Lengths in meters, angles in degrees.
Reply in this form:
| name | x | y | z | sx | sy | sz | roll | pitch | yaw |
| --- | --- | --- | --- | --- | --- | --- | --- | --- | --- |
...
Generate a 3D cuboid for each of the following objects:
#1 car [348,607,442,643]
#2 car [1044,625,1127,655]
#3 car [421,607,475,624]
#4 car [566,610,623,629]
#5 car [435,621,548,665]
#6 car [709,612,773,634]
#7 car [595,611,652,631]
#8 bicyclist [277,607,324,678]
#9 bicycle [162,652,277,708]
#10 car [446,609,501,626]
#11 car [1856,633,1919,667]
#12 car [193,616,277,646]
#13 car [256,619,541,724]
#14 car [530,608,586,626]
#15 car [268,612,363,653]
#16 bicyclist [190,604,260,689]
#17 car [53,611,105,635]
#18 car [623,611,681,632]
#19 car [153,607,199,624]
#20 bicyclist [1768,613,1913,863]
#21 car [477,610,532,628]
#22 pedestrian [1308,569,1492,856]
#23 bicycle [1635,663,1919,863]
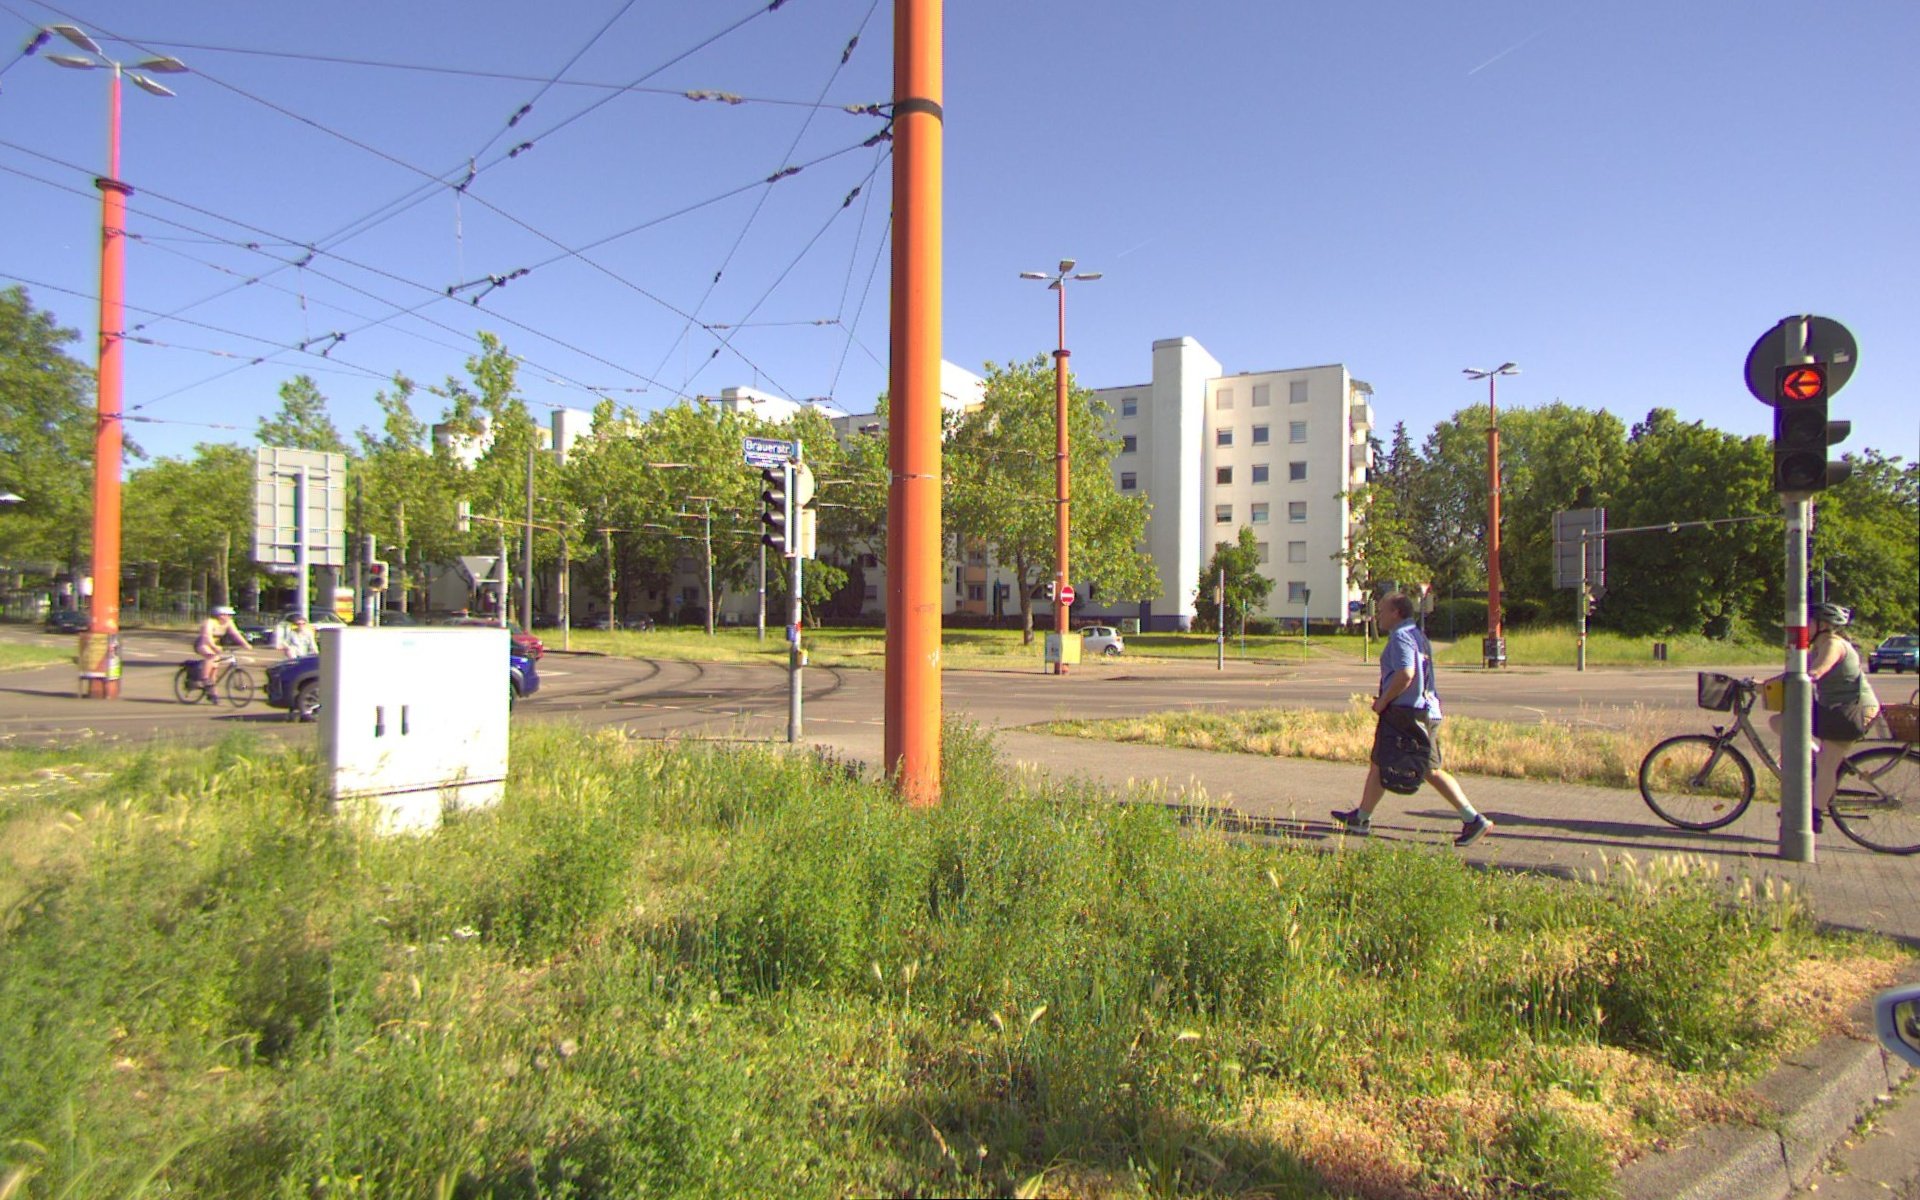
| name | x | y | z | sx | sy | sz | roll | pitch | yaw |
| --- | --- | --- | --- | --- | --- | --- | --- | --- | --- |
| car | -25.509 | 1.106 | 45.327 | 4.187 | 1.566 | 1.854 | 0 | -1 | 31 |
| car | 6.215 | 1.950 | 49.512 | 3.919 | 1.416 | 1.758 | 0 | -1 | 13 |
| car | -44.793 | 1.380 | 87.901 | 3.935 | 1.428 | 1.794 | 1 | -1 | -17 |
| car | -27.581 | 1.480 | 75.926 | 3.934 | 1.428 | 1.794 | 1 | -1 | -16 |
| car | -16.594 | 1.486 | 35.550 | 3.993 | 1.454 | 1.682 | 0 | -1 | 31 |
| car | -14.546 | 1.546 | 66.847 | 1.770 | 1.428 | 3.987 | 0 | -1 | 35 |
| car | -25.000 | 1.550 | 74.701 | 3.934 | 1.428 | 1.794 | 1 | -1 | -16 |
| bicyclist | -13.139 | 0.840 | 20.023 | 0.616 | 1.399 | 0.443 | 1 | -1 | -1 |
| bicycle | -13.951 | 1.500 | 18.940 | 1.612 | 0.974 | 0.685 | 2 | -1 | -1 |
| car | -41.438 | 1.478 | 85.631 | 3.935 | 1.428 | 1.794 | 1 | -1 | -17 |
| car | 37.152 | 1.961 | 39.626 | 3.571 | 1.260 | 1.730 | 1 | -1 | -31 |
| car | -34.507 | 1.458 | 47.809 | 4.287 | 1.368 | 1.761 | 0 | -1 | 32 |
| car | -9.538 | 1.162 | 17.320 | 4.058 | 1.595 | 1.984 | 1 | -1 | -30 |
| car | -31.942 | 1.362 | 79.977 | 3.935 | 1.428 | 1.794 | 1 | -1 | -17 |
| car | -27.781 | 1.382 | 43.262 | 4.179 | 1.658 | 1.824 | 0 | -1 | 32 |
| bicyclist | -13.848 | 0.869 | 18.949 | 0.752 | 1.565 | 0.732 | 1 | -1 | -1 |
| car | -54.488 | 1.413 | 62.119 | 4.297 | 1.368 | 1.757 | 0 | -1 | 40 |
| car | -22.259 | 1.542 | 72.651 | 3.934 | 1.428 | 1.794 | 1 | -1 | -16 |
| car | -94.093 | 1.870 | 120.543 | 1.969 | 2.040 | 3.984 | 0 | -1 | 38 |
| bicyclist | 6.038 | 0.896 | 6.926 | 0.651 | 1.605 | 0.671 | 0 | -1 | 33 |
| car | -38.035 | 1.560 | 83.889 | 3.935 | 1.428 | 1.794 | 1 | -1 | -17 |
| pedestrian | 3.099 | 0.722 | 7.053 | 0.973 | 1.817 | 0.951 | 0 | -1 | 38 |
| bicycle | 5.883 | 1.085 | 7.020 | 1.915 | 1.210 | 0.690 | 0 | -1 | 33 |
